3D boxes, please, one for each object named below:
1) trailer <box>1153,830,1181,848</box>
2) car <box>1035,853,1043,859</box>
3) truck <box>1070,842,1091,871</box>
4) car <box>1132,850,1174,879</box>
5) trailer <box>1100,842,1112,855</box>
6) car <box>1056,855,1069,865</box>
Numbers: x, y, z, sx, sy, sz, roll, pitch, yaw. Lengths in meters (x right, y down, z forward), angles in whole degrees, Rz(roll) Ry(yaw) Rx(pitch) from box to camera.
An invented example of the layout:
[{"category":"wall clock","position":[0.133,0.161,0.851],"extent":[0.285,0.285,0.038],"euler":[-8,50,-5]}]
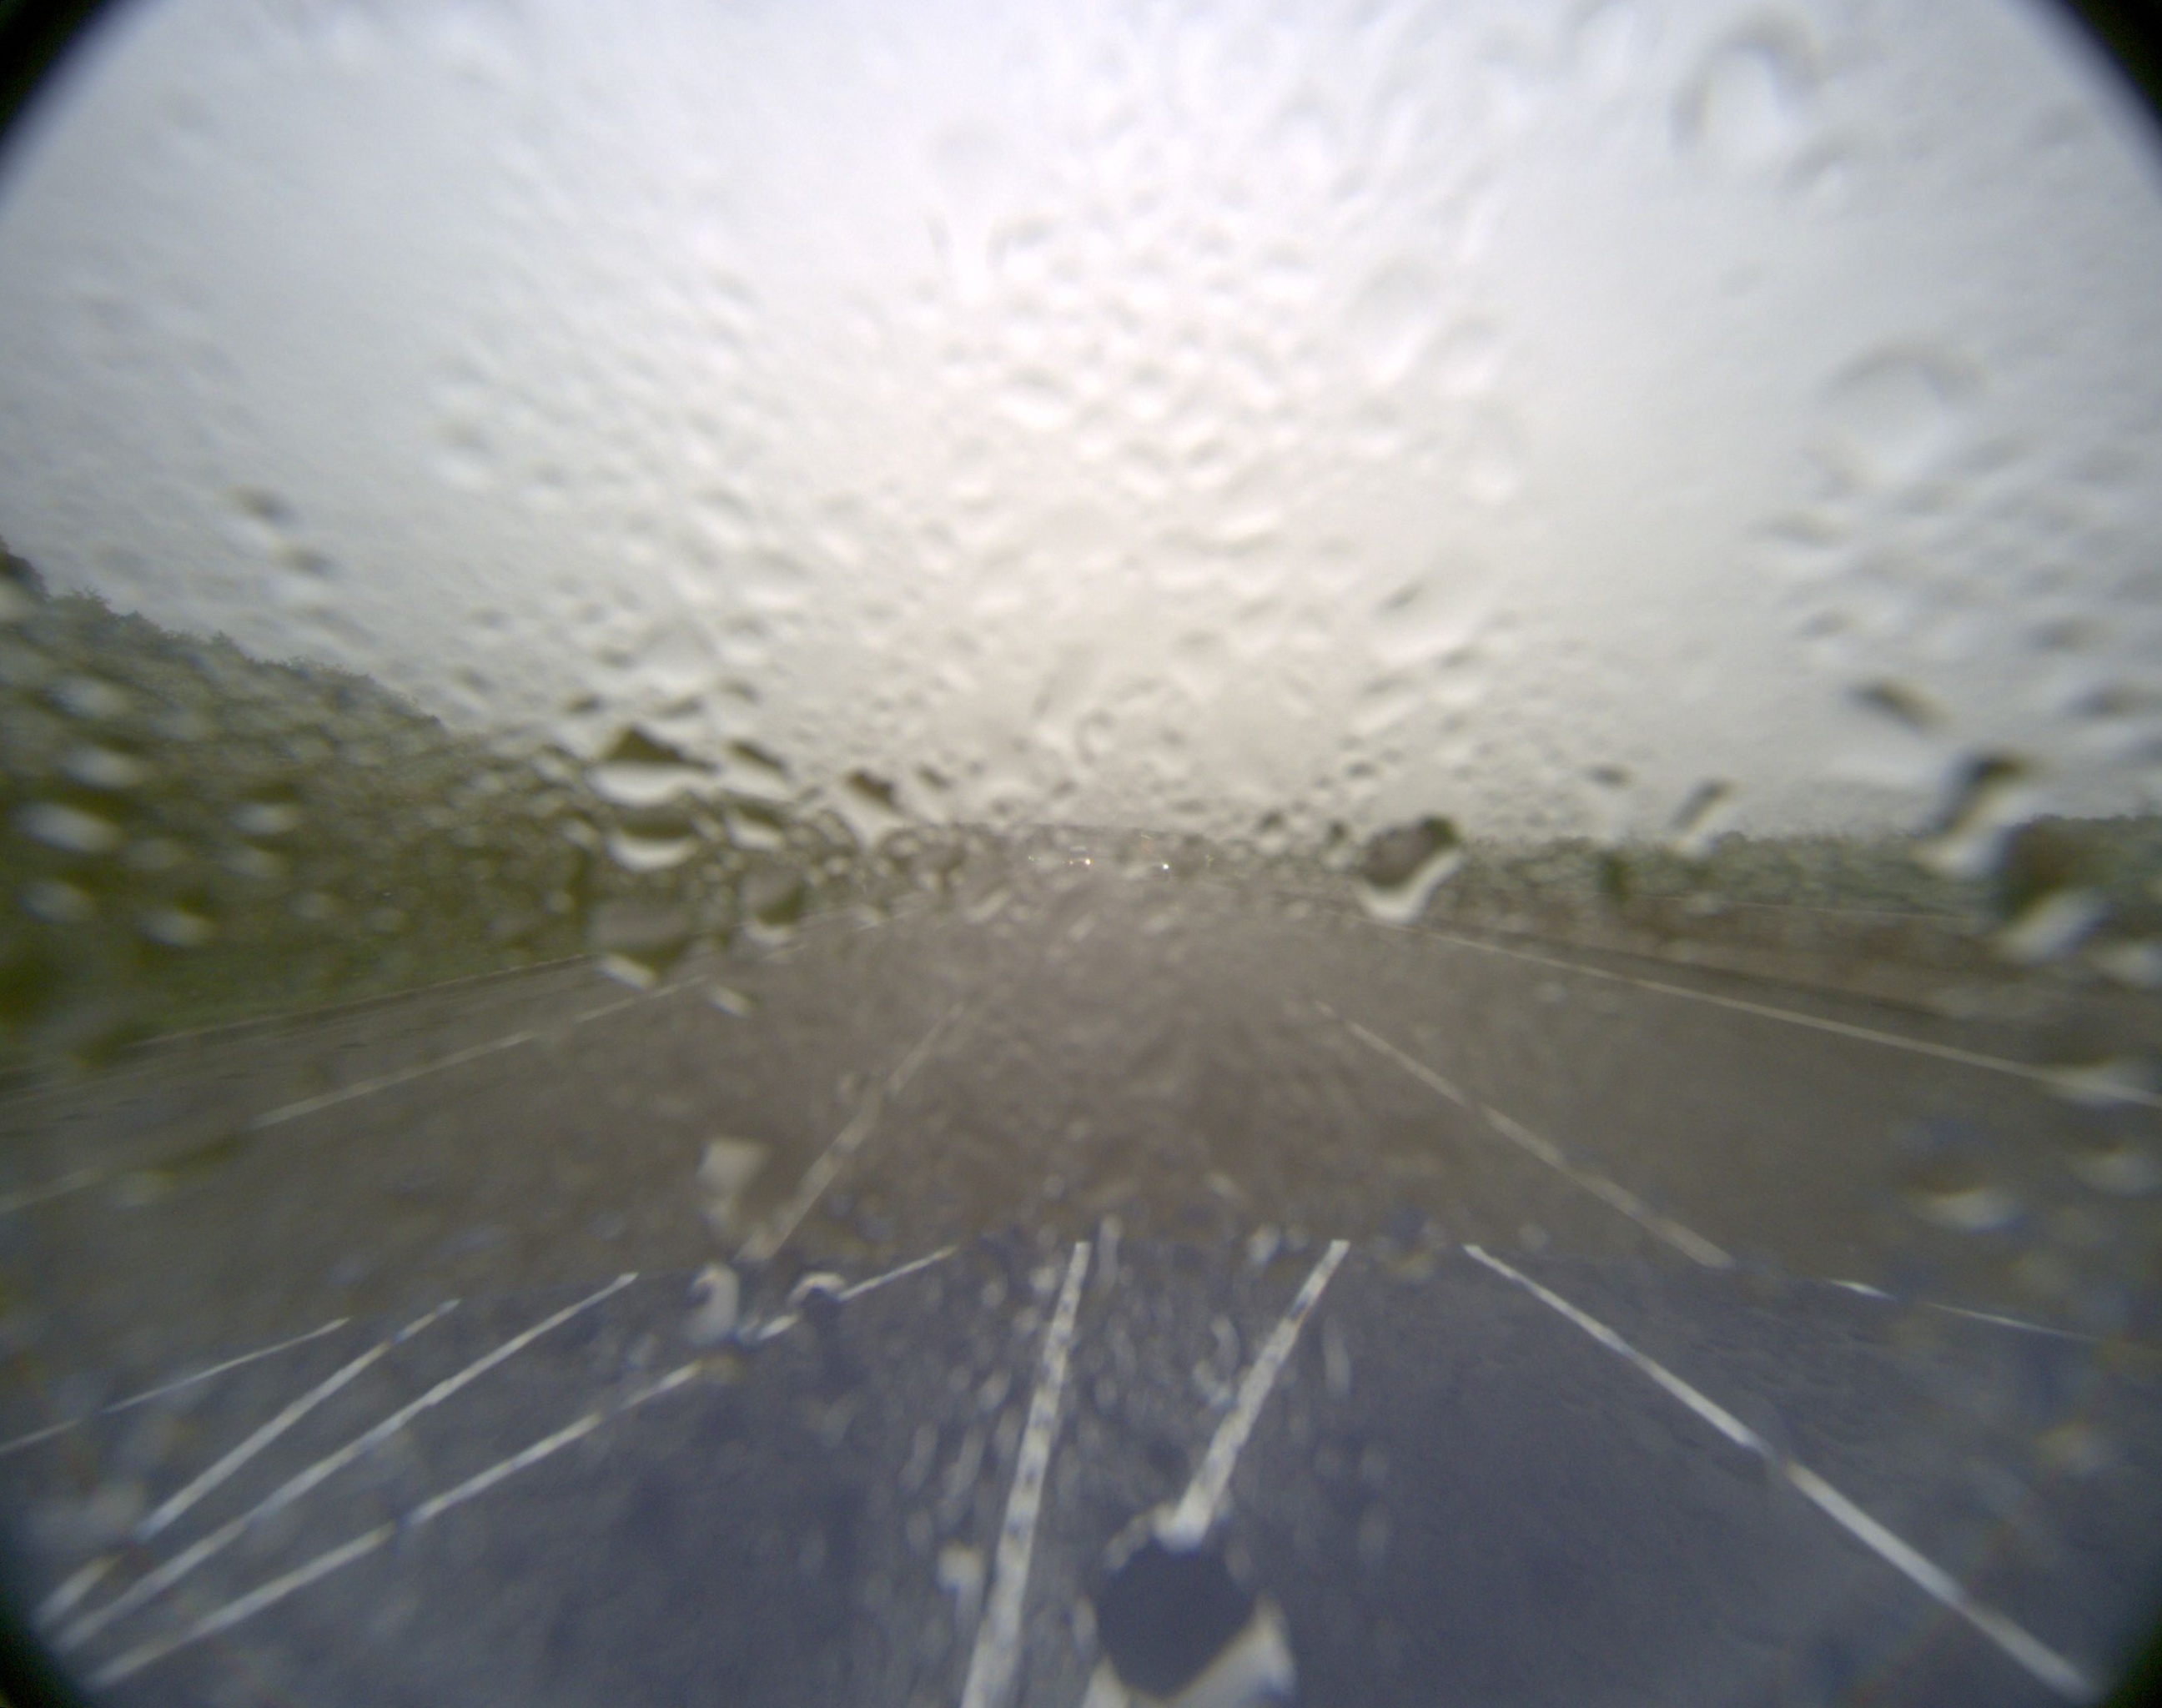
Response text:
[{"category":"trailer","position":[16.524,-2.990,147.474],"extent":[2.996,3.126,15.712],"euler":[-2,2,-2]},{"category":"car","position":[-10.956,0.535,196.230],"extent":[1.999,1.543,3.998],"euler":[-2,0,-4]},{"category":"truck","position":[0.023,0.146,79.438],"extent":[1.998,2.699,7.997],"euler":[-2,2,0]},{"category":"car","position":[4.272,0.602,45.555],"extent":[1.999,1.608,3.999],"euler":[-1,1,-2]},{"category":"trailer","position":[8.129,-1.845,248.989],"extent":[2.952,3.959,14.300],"euler":[-2,0,-3]},{"category":"car","position":[-3.141,0.967,126.485],"extent":[1.999,1.521,3.998],"euler":[-1,1,-4]}]
